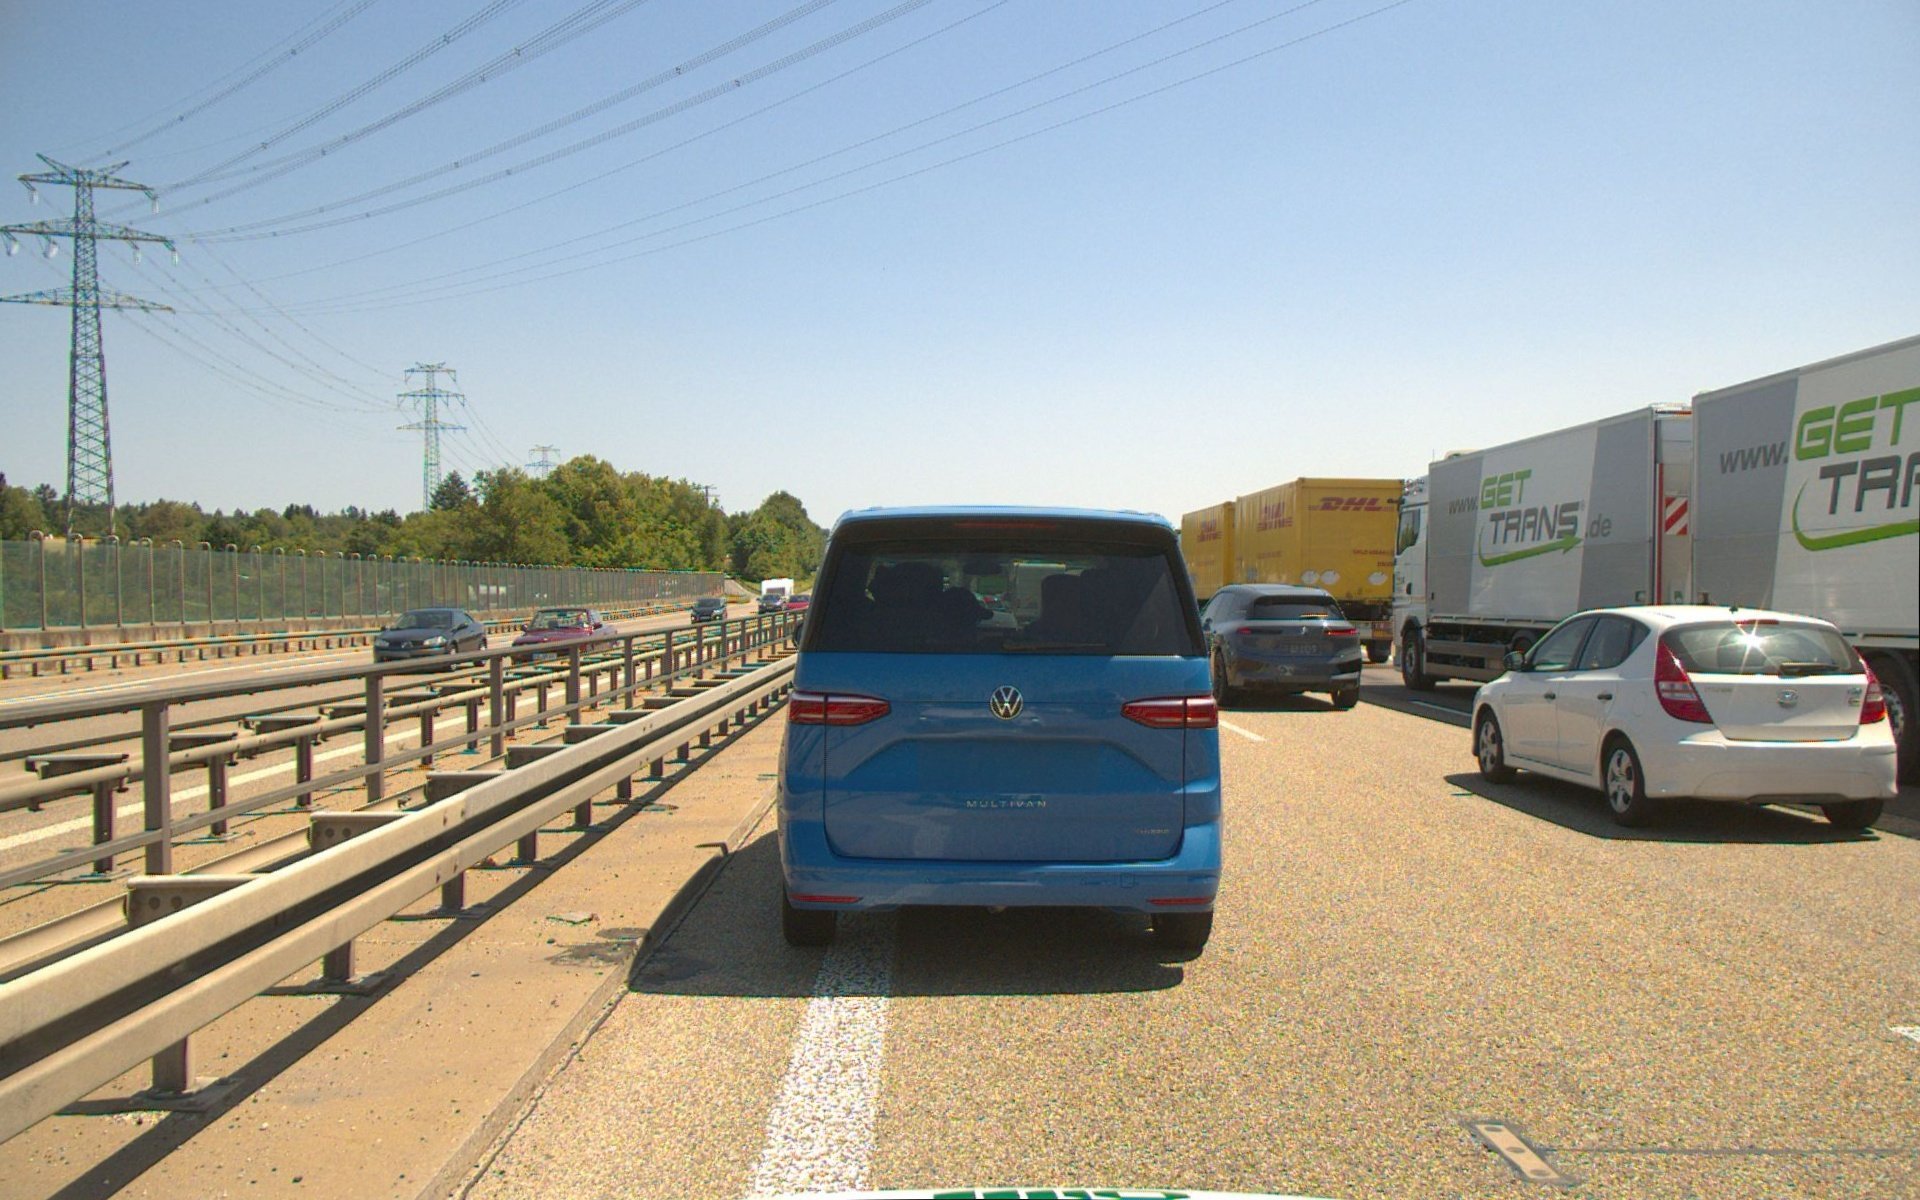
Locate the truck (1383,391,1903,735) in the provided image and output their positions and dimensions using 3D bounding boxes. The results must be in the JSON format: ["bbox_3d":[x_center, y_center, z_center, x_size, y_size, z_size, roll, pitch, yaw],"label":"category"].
[{"bbox_3d":[8.799,-0.440,23.384,2.603,3.711,11.008,0,0,-1],"label":"truck"}]

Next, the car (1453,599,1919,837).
[{"bbox_3d":[5.304,0.743,12.609,1.752,1.481,4.292,0,0,-1],"label":"car"}]

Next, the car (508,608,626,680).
[{"bbox_3d":[-8.409,0.905,35.732,1.565,1.341,4.340,-2,0,-1],"label":"car"}]

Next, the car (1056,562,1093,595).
[{"bbox_3d":[7.208,-1.332,104.172,1.953,2.049,4.460,-1,0,-1],"label":"car"}]

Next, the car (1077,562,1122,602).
[{"bbox_3d":[7.287,-0.913,86.563,1.953,2.049,3.999,1,0,-1],"label":"car"}]

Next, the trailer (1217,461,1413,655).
[{"bbox_3d":[8.647,-0.930,41.490,2.806,4.313,9.009,1,0,-1],"label":"trailer"}]

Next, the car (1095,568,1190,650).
[{"bbox_3d":[4.701,0.222,43.162,1.922,2.028,4.292,0,0,-1],"label":"car"}]

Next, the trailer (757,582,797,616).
[{"bbox_3d":[-14.611,-0.115,132.206,2.442,2.593,6.773,-2,0,-1],"label":"trailer"}]

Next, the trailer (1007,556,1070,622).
[{"bbox_3d":[3.823,-0.517,82.563,2.517,3.042,10.661,1,0,-1],"label":"trailer"}]

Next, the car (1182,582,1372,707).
[{"bbox_3d":[4.553,0.585,24.378,1.922,1.673,4.292,0,0,-1],"label":"car"}]

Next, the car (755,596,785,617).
[{"bbox_3d":[-14.527,0.485,126.463,1.739,1.432,4.681,-2,0,-1],"label":"car"}]

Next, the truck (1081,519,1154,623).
[{"bbox_3d":[7.247,-1.293,76.763,2.613,4.562,6.848,1,0,-1],"label":"truck"}]

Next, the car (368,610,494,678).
[{"bbox_3d":[-12.166,0.979,38.280,1.565,1.373,4.178,-2,0,-1],"label":"car"}]

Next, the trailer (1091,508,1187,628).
[{"bbox_3d":[7.332,-1.265,69.327,2.583,4.595,11.299,1,0,-1],"label":"trailer"}]

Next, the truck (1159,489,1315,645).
[{"bbox_3d":[8.373,-0.923,51.551,2.778,4.317,11.008,1,0,-1],"label":"truck"}]

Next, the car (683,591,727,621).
[{"bbox_3d":[-13.831,0.298,89.897,1.695,1.517,4.418,-2,0,-1],"label":"car"}]

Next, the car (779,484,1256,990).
[{"bbox_3d":[0.198,0.518,8.296,1.783,1.890,4.074,1,0,-1],"label":"car"}]

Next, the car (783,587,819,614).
[{"bbox_3d":[-9.635,0.035,100.408,1.755,1.504,3.988,-2,0,-1],"label":"car"}]

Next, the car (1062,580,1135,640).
[{"bbox_3d":[4.383,0.286,52.941,1.953,1.847,3.999,0,0,-1],"label":"car"}]

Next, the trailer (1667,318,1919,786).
[{"bbox_3d":[9.037,-0.390,13.864,2.643,3.765,8.013,0,0,-1],"label":"trailer"}]

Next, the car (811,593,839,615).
[{"bbox_3d":[-9.929,0.296,121.625,1.634,1.473,4.000,-3,0,0],"label":"car"}]
